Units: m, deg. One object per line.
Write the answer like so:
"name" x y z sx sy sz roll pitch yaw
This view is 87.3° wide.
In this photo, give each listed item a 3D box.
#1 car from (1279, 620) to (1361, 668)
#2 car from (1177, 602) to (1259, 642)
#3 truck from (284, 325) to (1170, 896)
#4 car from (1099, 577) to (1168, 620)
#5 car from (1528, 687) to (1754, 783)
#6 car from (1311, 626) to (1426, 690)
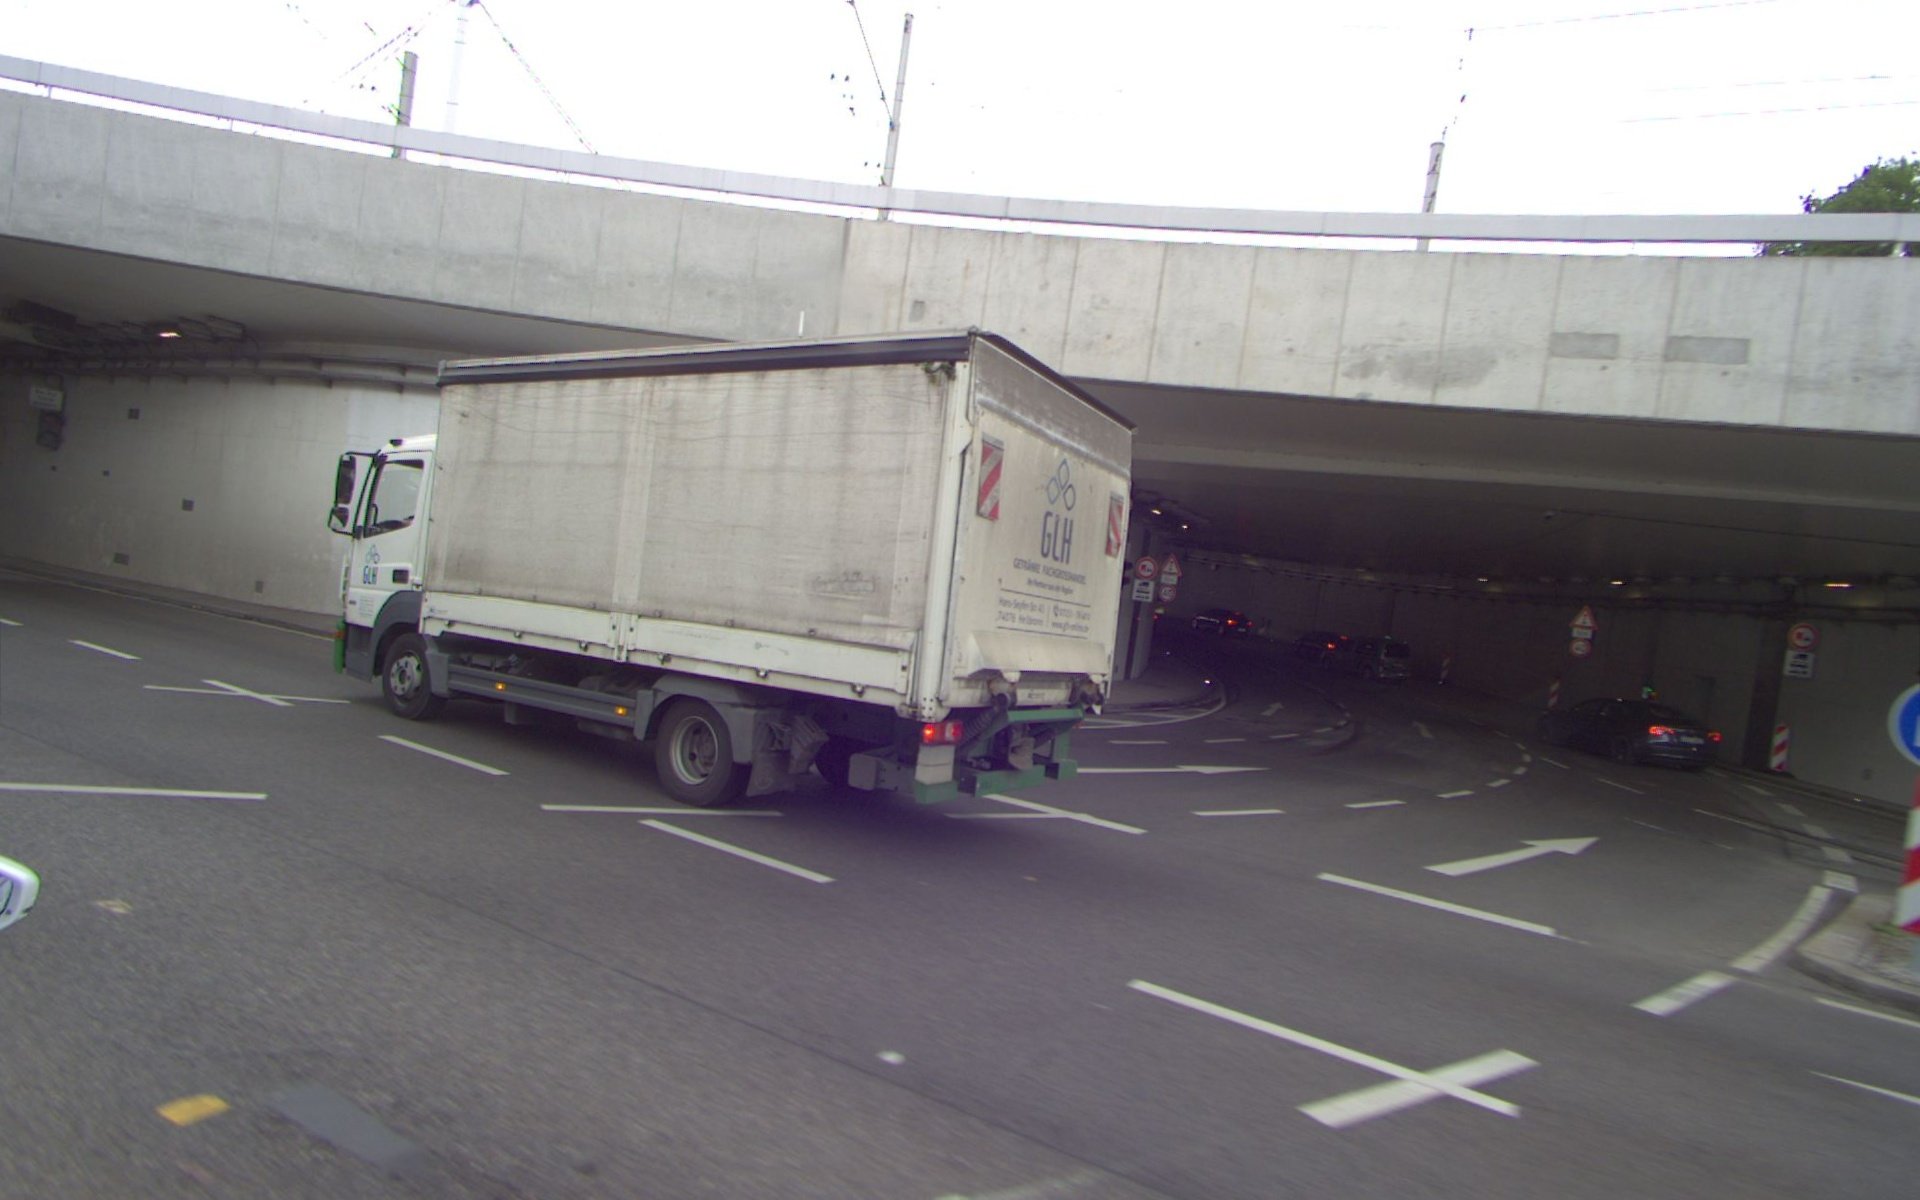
"car" 17.727 2.131 49.735 1.818 1.680 4.347 8 3 -8
"car" 14.863 1.243 58.181 2.117 1.649 4.366 7 2 -26
"truck" -2.335 -0.282 8.644 7.300 3.224 2.653 8 1 31
"car" 11.099 -0.131 64.488 1.935 1.925 4.201 6 7 -29
"car" 15.681 3.049 23.528 1.963 1.419 4.462 5 1 -3
"car" 17.248 2.417 42.688 1.970 1.862 4.334 5 6 -19
